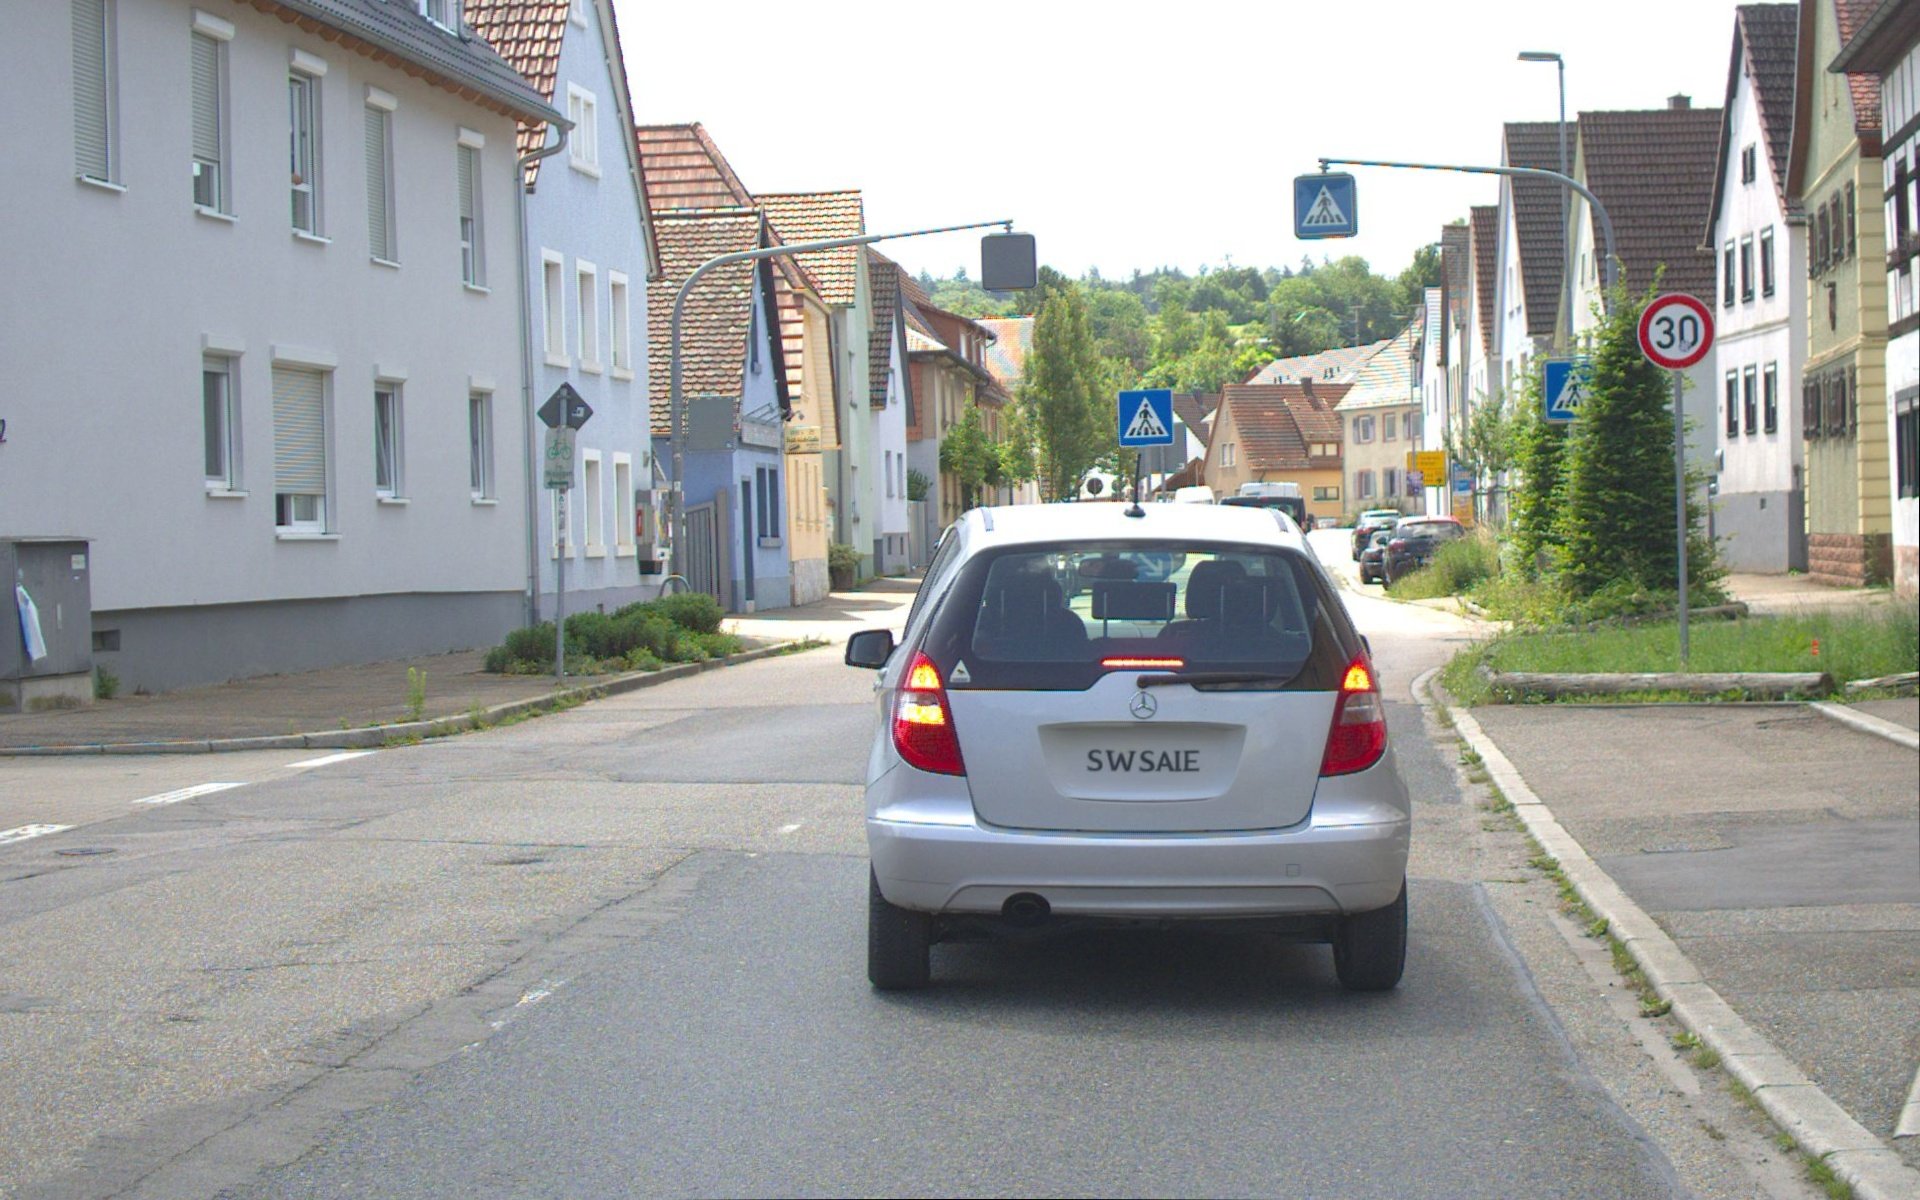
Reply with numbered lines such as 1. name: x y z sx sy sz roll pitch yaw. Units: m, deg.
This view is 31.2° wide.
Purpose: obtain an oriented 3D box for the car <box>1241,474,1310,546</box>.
1. car: 9.415 -2.673 102.727 1.994 2.007 3.999 0 0 5

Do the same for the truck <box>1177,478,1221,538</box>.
1. truck: 11.078 -4.220 159.371 1.994 2.528 6.738 0 0 4

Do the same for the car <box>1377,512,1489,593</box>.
1. car: 9.330 -0.912 68.055 1.994 1.503 3.999 0 0 5

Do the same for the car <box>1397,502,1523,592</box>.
1. car: 8.884 -0.917 61.355 1.994 1.503 3.999 0 0 5

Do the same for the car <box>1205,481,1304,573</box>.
1. car: 6.193 -1.512 72.590 1.994 1.810 3.999 0 0 4

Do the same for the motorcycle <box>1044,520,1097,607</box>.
1. motorcycle: 2.053 -0.686 63.657 0.880 1.555 1.967 0 2 5

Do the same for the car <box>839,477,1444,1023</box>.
1. car: 0.488 0.430 12.318 1.810 1.638 3.729 1 1 -2

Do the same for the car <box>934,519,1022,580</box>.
1. car: 0.391 -1.153 79.473 1.993 1.317 3.709 0 0 0

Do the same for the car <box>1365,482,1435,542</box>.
1. car: 14.238 -2.825 111.331 1.994 1.810 3.999 0 0 4

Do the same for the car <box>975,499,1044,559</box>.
1. car: 1.425 -2.012 98.055 1.667 1.590 3.999 0 0 5

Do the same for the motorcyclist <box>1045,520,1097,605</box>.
1. motorcyclist: 2.057 -0.699 63.622 0.896 1.549 0.807 0 2 5
